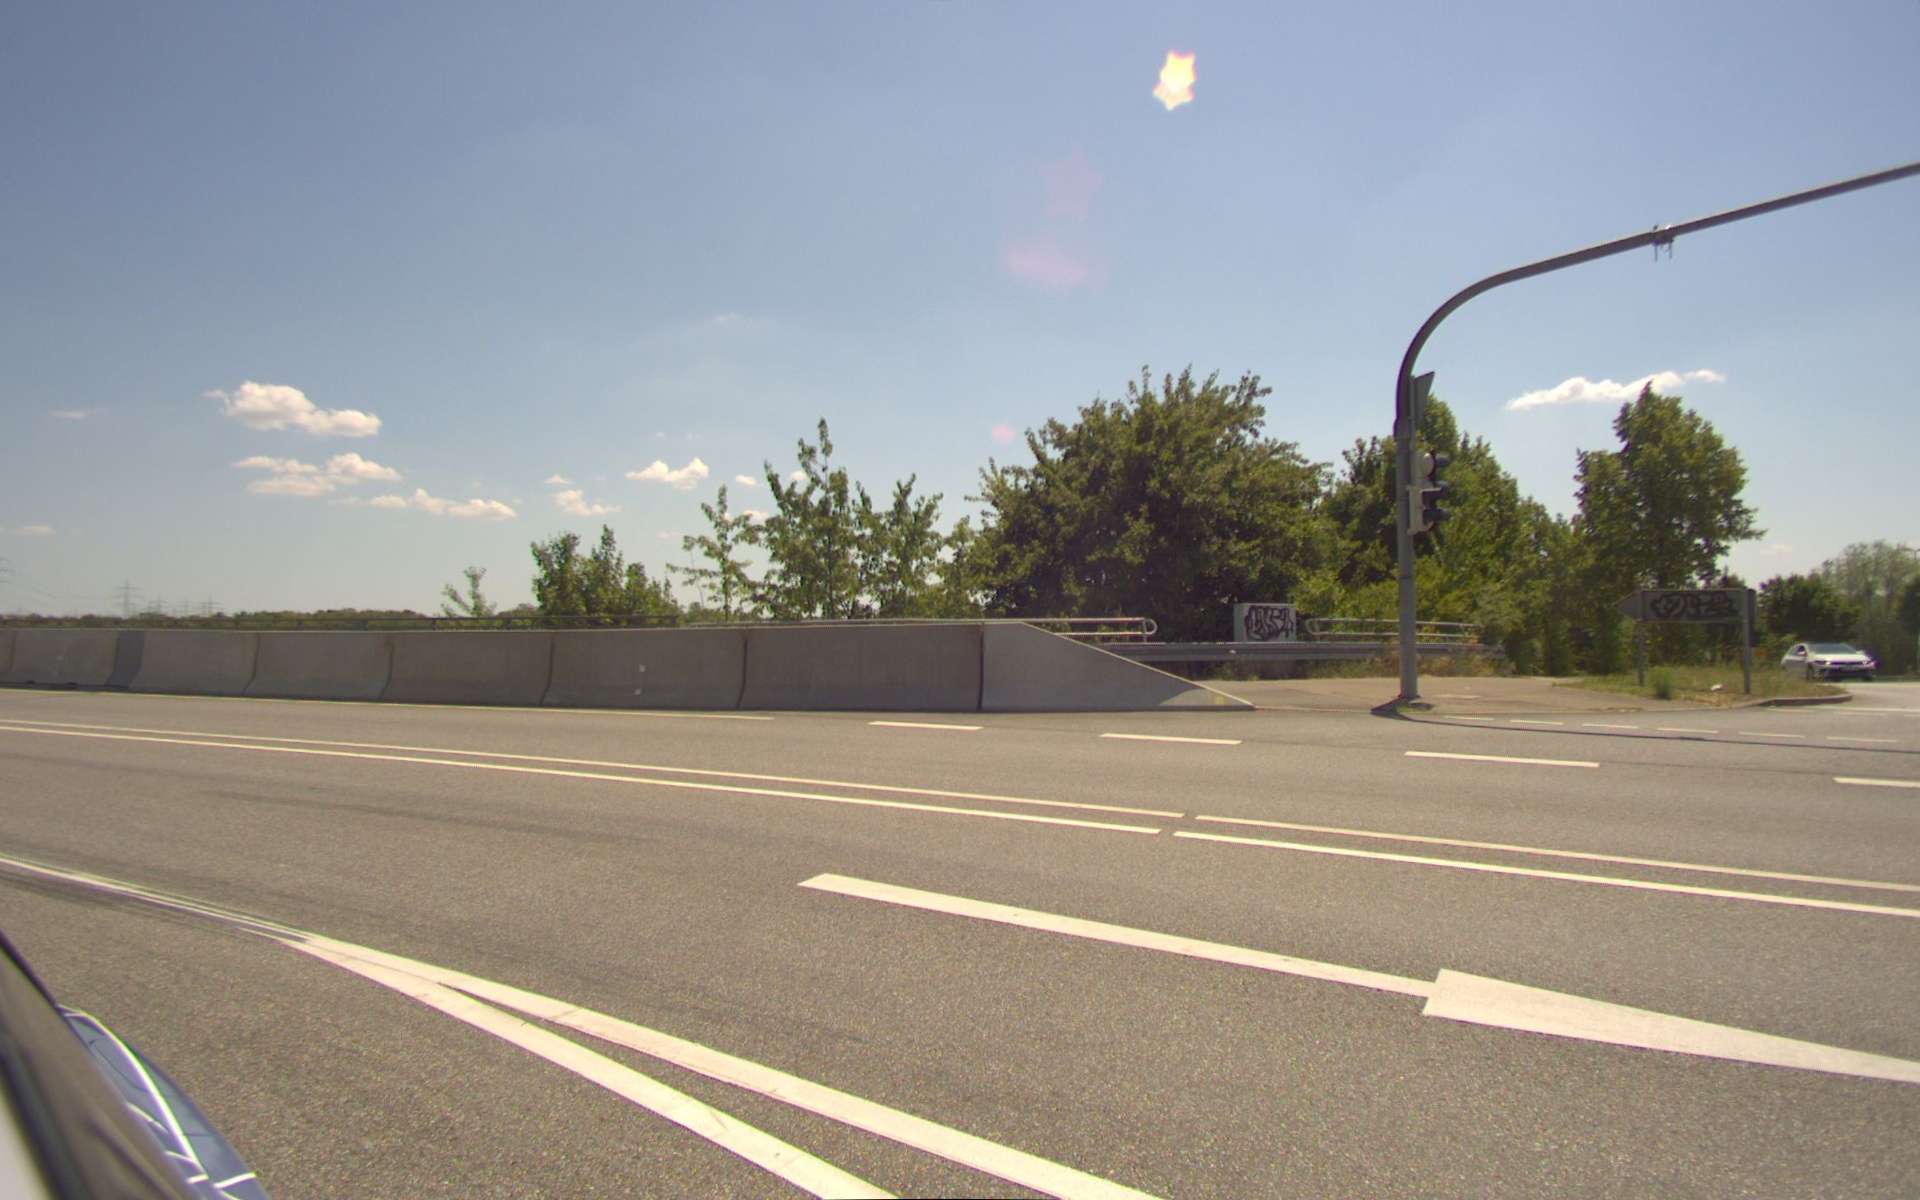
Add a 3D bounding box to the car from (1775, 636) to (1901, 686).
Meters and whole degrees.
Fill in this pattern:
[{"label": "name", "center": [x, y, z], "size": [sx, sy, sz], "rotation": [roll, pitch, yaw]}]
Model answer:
[{"label": "car", "center": [30.576, 2.082, 35.388], "size": [1.779, 1.540, 3.978], "rotation": [-1, -1, 16]}]
